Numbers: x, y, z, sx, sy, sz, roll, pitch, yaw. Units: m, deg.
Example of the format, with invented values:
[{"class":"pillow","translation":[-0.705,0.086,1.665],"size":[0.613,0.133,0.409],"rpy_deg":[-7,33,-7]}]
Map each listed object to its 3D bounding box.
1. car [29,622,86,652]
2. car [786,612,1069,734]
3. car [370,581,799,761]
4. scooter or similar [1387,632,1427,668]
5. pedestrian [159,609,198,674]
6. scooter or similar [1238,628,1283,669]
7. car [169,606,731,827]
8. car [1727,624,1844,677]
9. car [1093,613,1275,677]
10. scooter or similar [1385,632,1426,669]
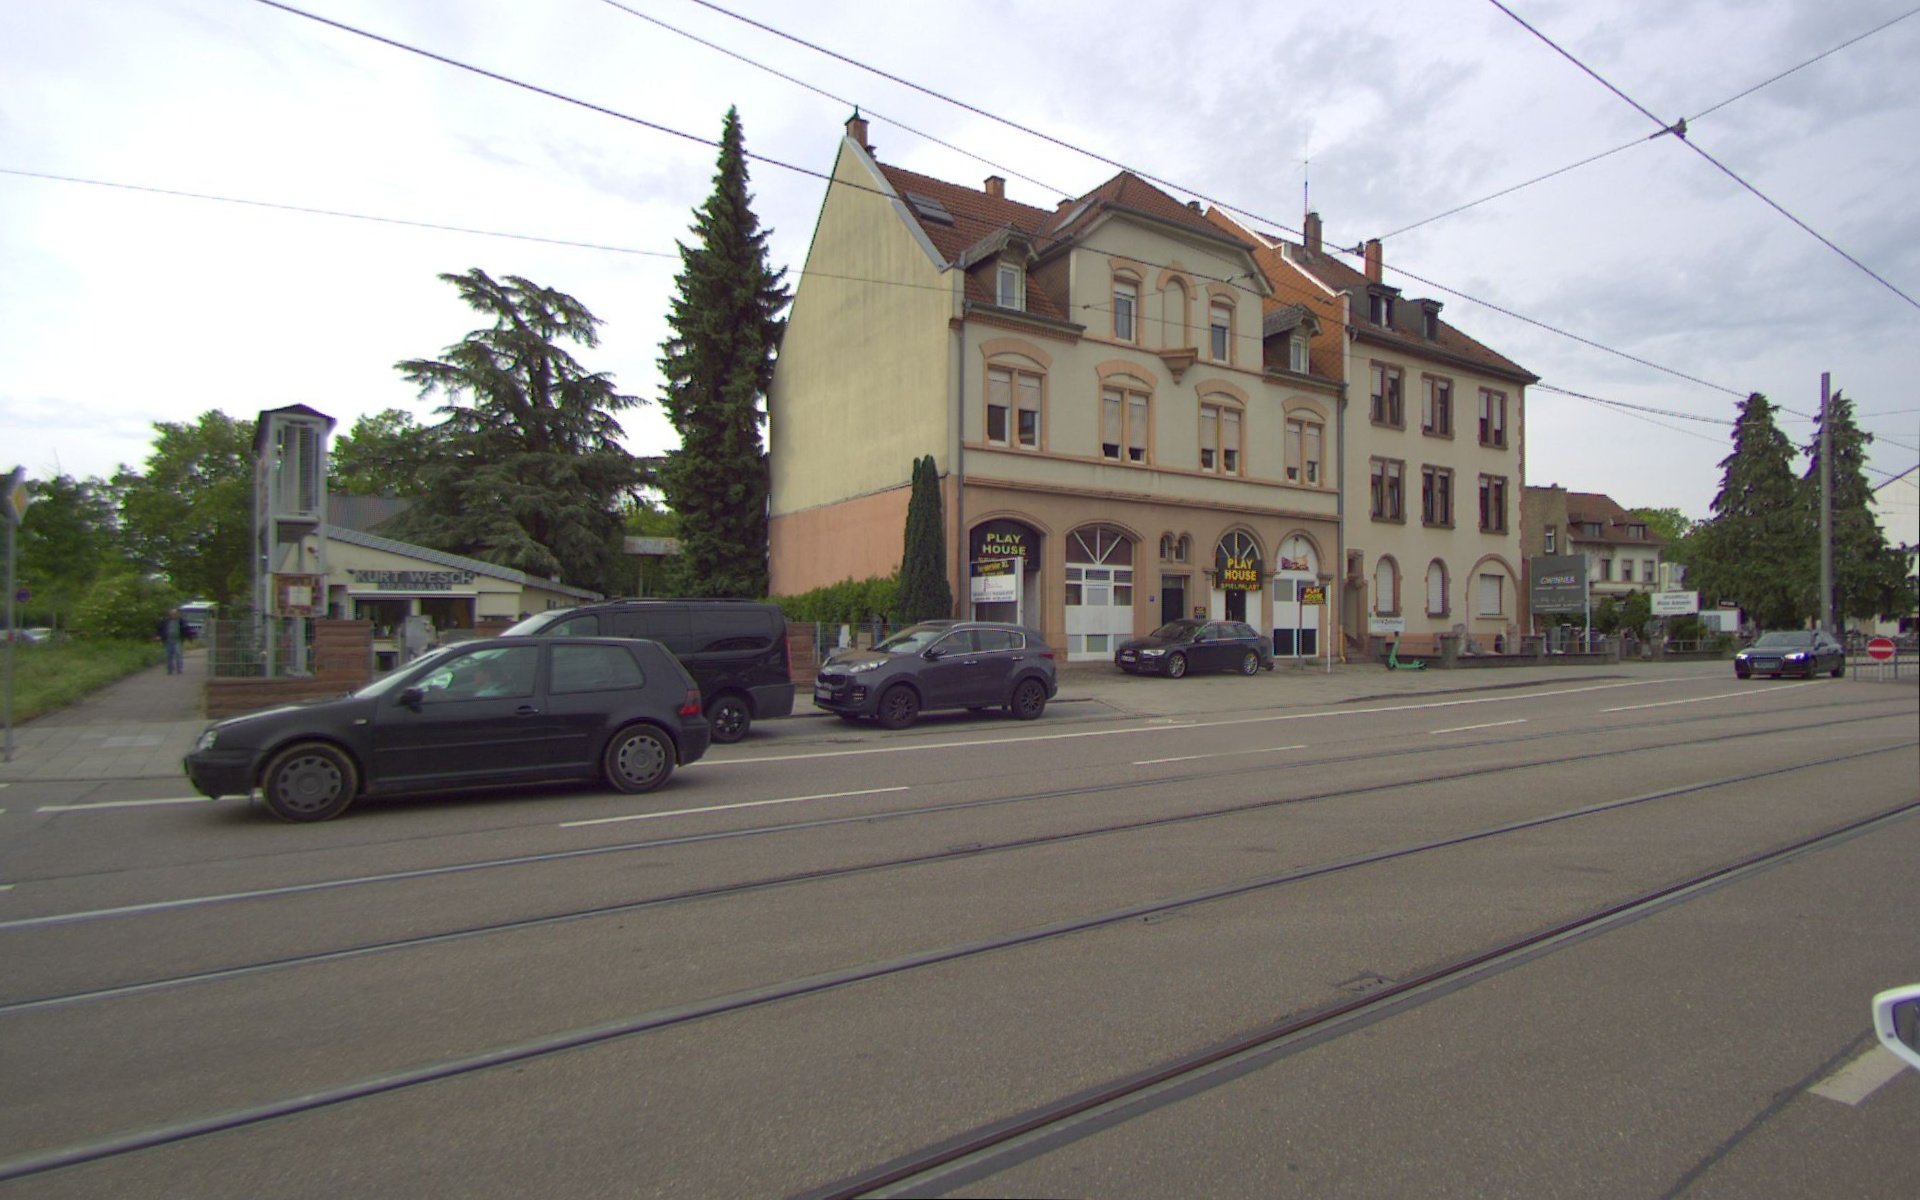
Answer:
[{"class":"car","translation":[-64.522,2.634,71.847],"size":[1.974,2.040,3.973],"rpy_deg":[1,-1,-26]},{"class":"car","translation":[-0.485,1.118,17.166],"size":[4.491,1.773,2.023],"rpy_deg":[1,1,-36]},{"class":"car","translation":[-4.965,0.859,13.659],"size":[5.133,2.040,1.974],"rpy_deg":[2,0,-35]},{"class":"scooter or similar","translation":[14.392,1.600,32.345],"size":[1.156,1.116,0.527],"rpy_deg":[1,-1,28]},{"class":"pedestrian","translation":[-21.884,1.150,28.144],"size":[0.752,1.797,0.631],"rpy_deg":[1,-1,-30]},{"class":"scooter or similar","translation":[8.868,1.419,29.702],"size":[0.523,1.116,1.165],"rpy_deg":[1,1,-37]},{"class":"car","translation":[-4.309,0.913,8.960],"size":[4.096,1.550,1.781],"rpy_deg":[1,-4,-33]},{"class":"car","translation":[25.135,1.523,30.527],"size":[4.781,1.492,1.889],"rpy_deg":[2,-3,-40]},{"class":"car","translation":[6.106,1.184,27.186],"size":[4.852,1.513,1.981],"rpy_deg":[2,1,-34]},{"class":"scooter or similar","translation":[14.029,1.582,31.626],"size":[1.156,1.116,0.527],"rpy_deg":[1,-1,28]}]
